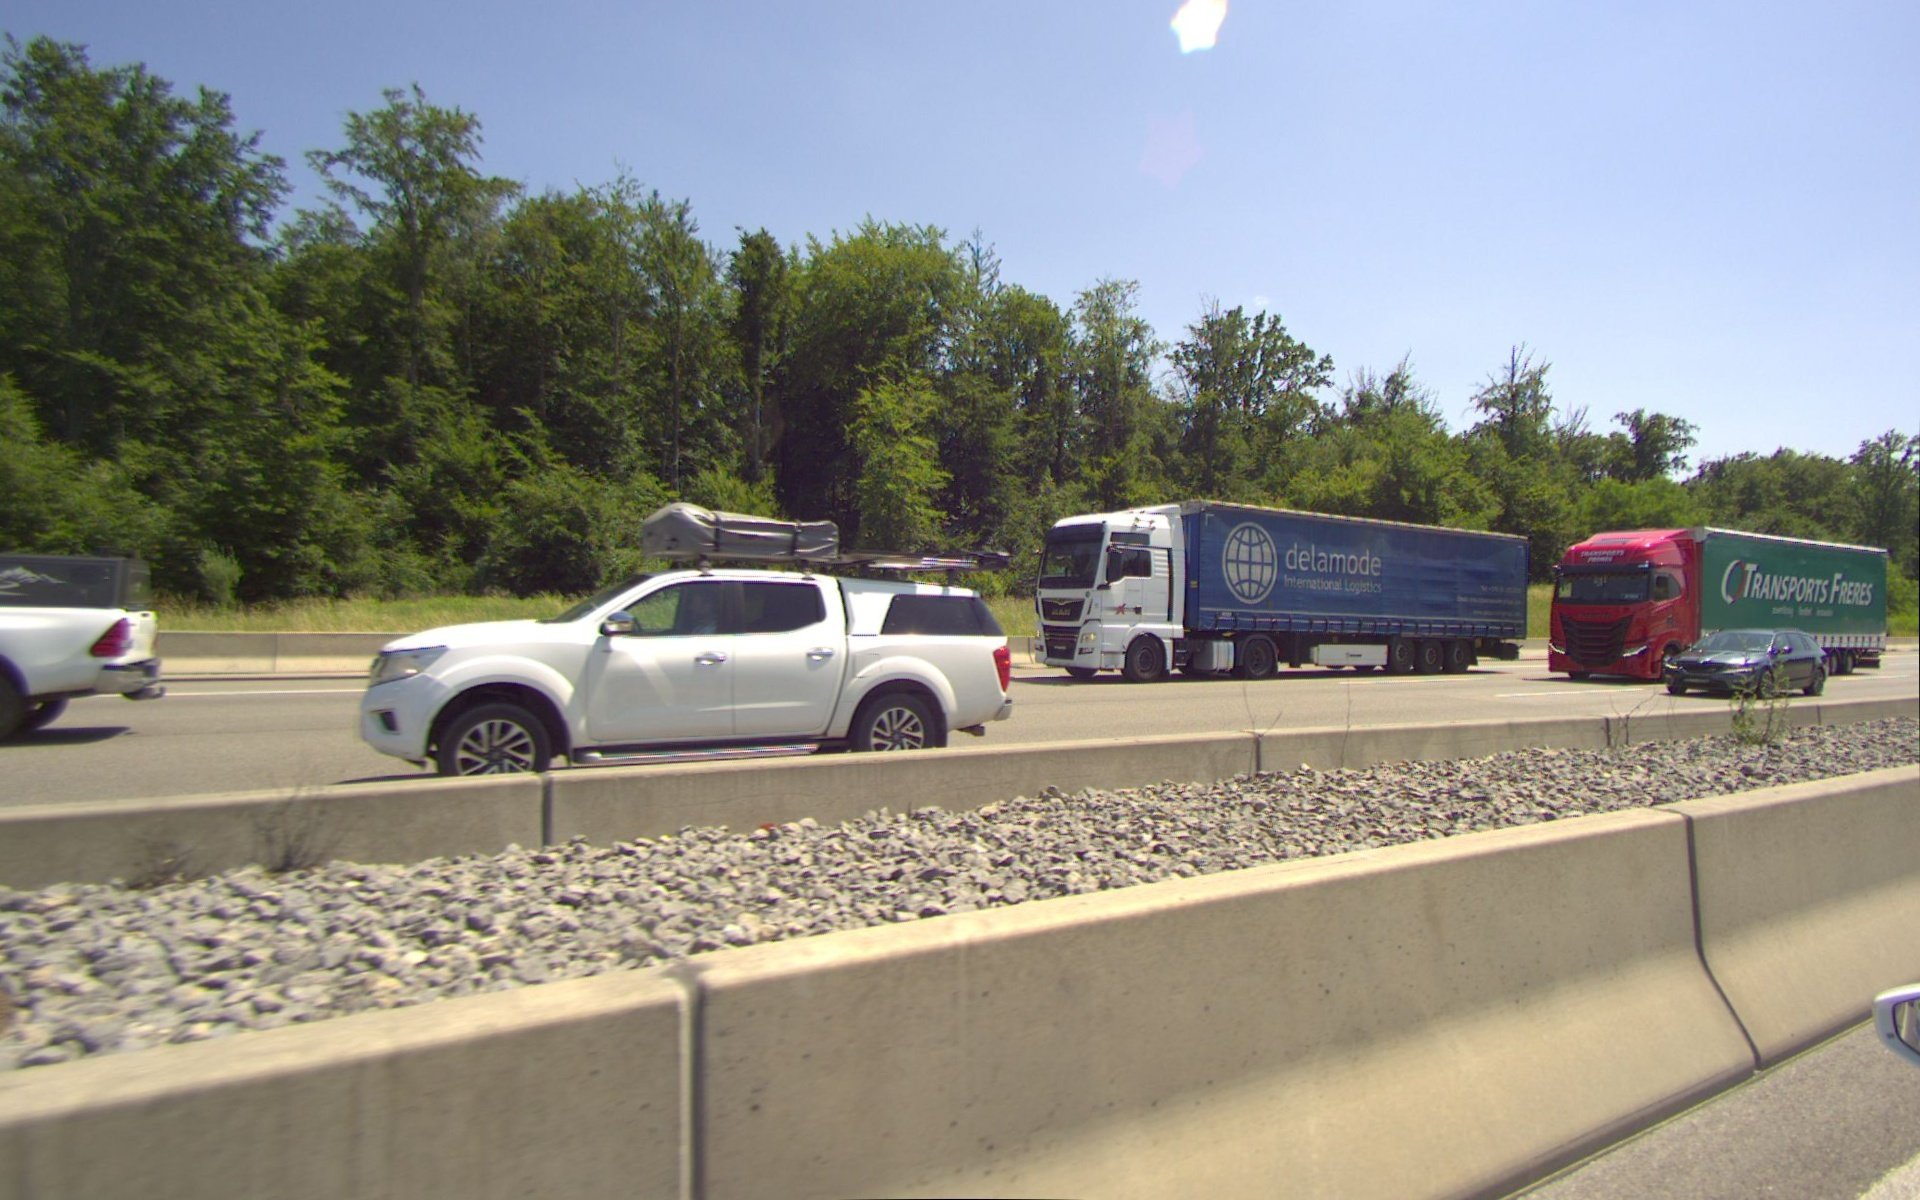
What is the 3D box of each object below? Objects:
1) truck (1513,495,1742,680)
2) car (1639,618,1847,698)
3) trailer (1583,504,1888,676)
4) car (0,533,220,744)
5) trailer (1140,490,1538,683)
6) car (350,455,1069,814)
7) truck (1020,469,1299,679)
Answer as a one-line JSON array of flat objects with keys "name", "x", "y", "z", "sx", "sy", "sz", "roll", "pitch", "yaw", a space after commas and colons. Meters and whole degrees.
[{"name": "truck", "x": 17.875, "y": -0.274, "z": 26.783, "sx": 6.529, "sy": 4.409, "sz": 2.488, "roll": 1, "pitch": 1, "yaw": -31}, {"name": "car", "x": 17.325, "y": 1.232, "z": 22.169, "sx": 4.824, "sy": 1.568, "sz": 1.984, "roll": 2, "pitch": 0, "yaw": -30}, {"name": "trailer", "x": 24.037, "y": -0.179, "z": 30.624, "sx": 14.140, "sy": 4.409, "sz": 2.488, "roll": 1, "pitch": 0, "yaw": -32}, {"name": "car", "x": -10.764, "y": 0.321, "z": 9.620, "sx": 5.670, "sy": 1.996, "sz": 1.984, "roll": 2, "pitch": 0, "yaw": -31}, {"name": "trailer", "x": 10.937, "y": -0.235, "z": 27.686, "sx": 13.542, "sy": 4.409, "sz": 2.488, "roll": 1, "pitch": 0, "yaw": -32}, {"name": "car", "x": -1.945, "y": 0.281, "z": 8.792, "sx": 5.698, "sy": 2.319, "sz": 1.984, "roll": 1, "pitch": 0, "yaw": -31}, {"name": "truck", "x": 4.829, "y": -0.515, "z": 23.871, "sx": 6.531, "sy": 4.409, "sz": 2.487, "roll": 1, "pitch": 1, "yaw": -32}]
